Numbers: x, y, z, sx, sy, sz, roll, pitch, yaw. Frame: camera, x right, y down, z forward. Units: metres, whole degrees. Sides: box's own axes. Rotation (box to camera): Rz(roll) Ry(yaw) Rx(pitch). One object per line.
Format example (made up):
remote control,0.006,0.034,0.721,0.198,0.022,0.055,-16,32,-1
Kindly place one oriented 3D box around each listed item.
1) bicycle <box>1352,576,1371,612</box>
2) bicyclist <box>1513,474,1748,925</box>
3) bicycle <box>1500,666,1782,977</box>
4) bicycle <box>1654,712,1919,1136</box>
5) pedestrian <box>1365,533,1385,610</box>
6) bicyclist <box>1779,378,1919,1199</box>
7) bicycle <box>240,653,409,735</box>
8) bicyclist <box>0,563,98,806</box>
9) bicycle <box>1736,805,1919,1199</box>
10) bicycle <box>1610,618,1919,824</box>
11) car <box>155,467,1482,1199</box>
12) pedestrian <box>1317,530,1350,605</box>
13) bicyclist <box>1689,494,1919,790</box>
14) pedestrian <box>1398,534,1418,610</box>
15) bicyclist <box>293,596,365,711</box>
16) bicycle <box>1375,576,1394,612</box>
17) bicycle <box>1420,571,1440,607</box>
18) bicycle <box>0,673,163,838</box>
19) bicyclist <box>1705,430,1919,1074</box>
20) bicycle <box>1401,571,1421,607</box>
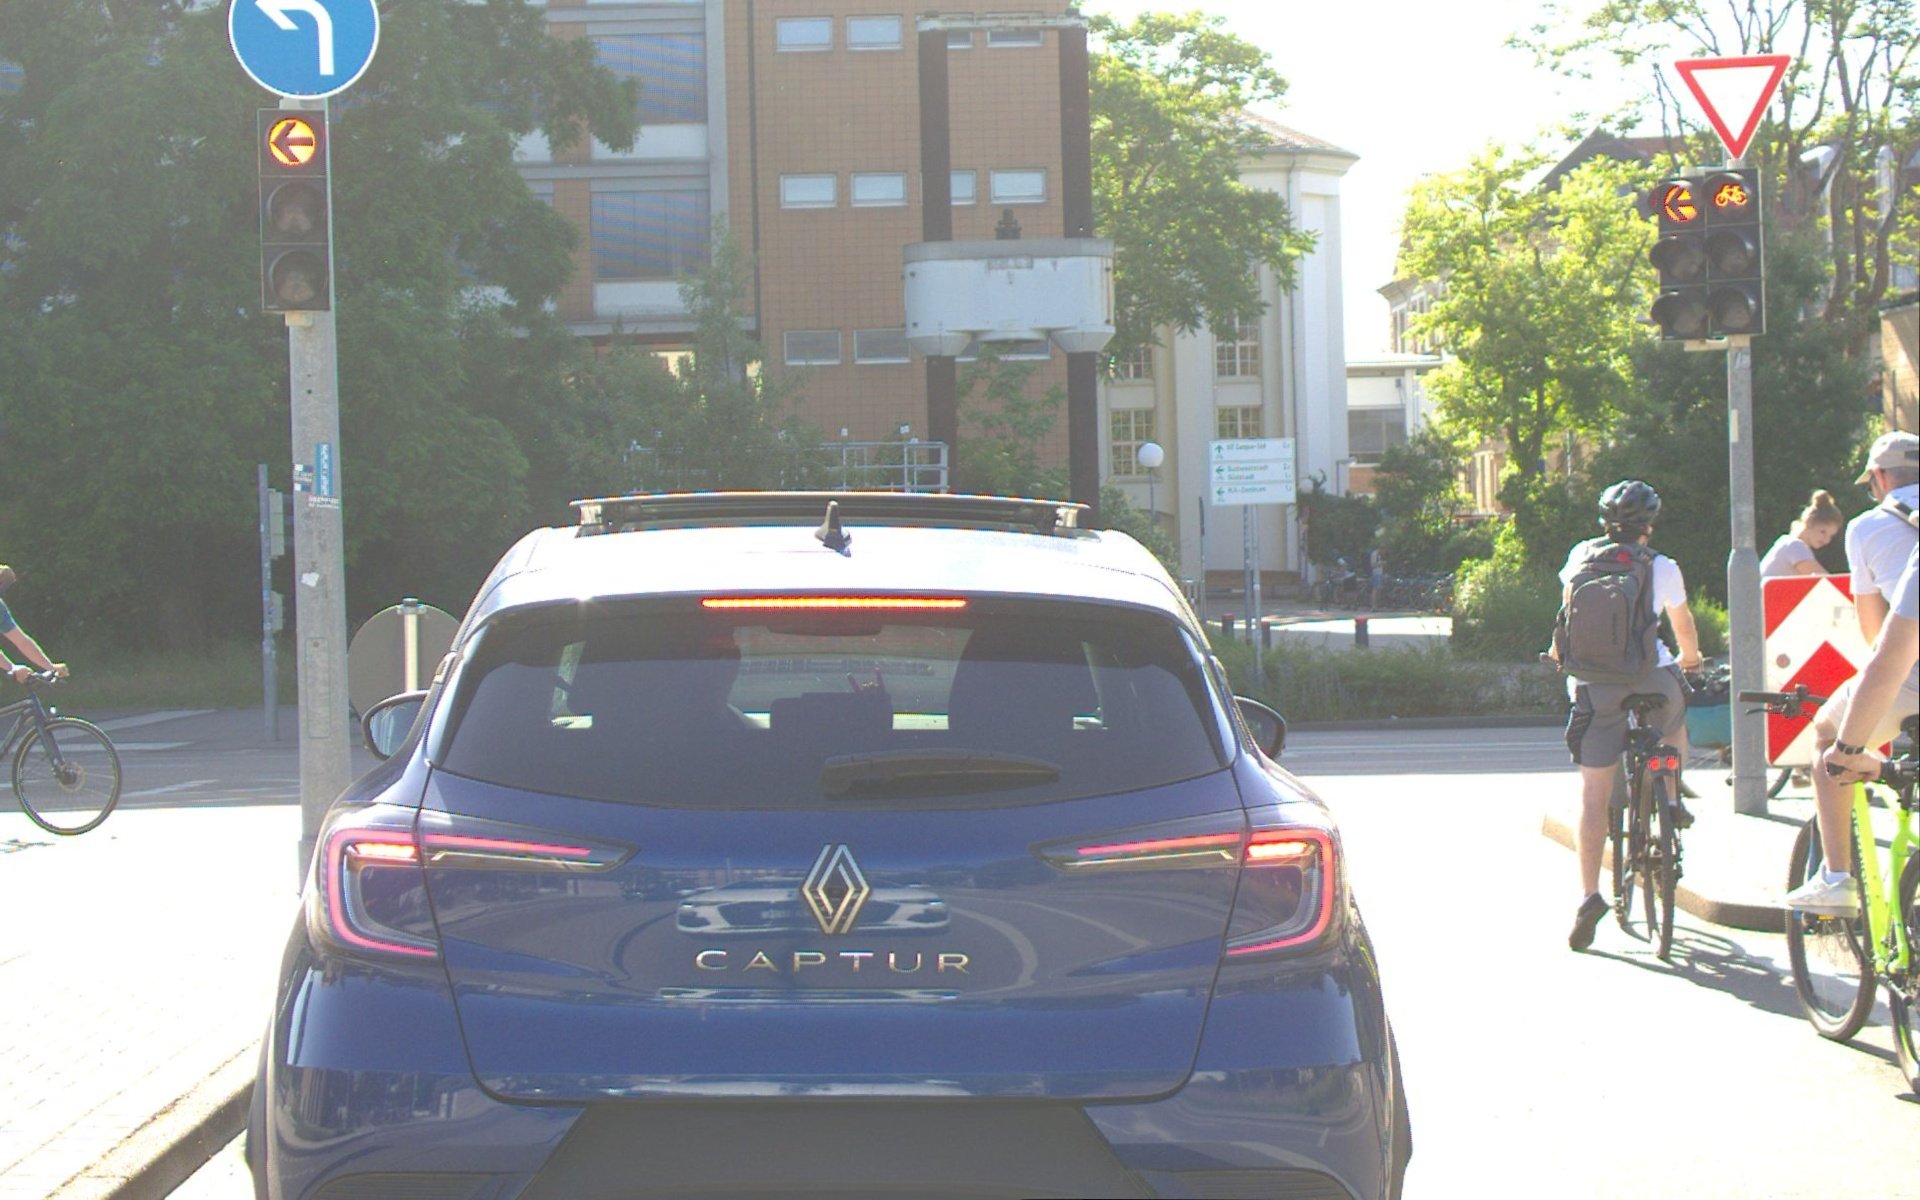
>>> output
bicycle,10.987,-0.179,94.080,0.405,0.969,1.683,1,1,4
bicyclist,2.507,0.355,12.945,0.726,1.623,0.969,1,0,4
bicycle,2.509,0.782,12.901,0.739,0.992,2.173,1,1,3
bicycle,2.611,0.866,9.821,0.659,0.999,1.970,1,1,-6
pedestrian,10.977,-0.752,91.043,0.475,2.007,0.523,-1,1,6
bicyclist,2.231,0.396,7.245,0.751,1.663,1.016,1,0,1
bicycle,-8.083,1.188,43.769,2.005,0.961,0.598,-2,1,-27
bicyclist,-5.889,0.517,20.642,1.124,1.417,0.687,-3,0,12
bicycle,2.227,0.953,7.256,0.740,0.893,1.978,1,1,1
bicycle,4.512,0.632,18.321,1.985,0.992,0.741,-3,0,9
car,-0.269,0.614,6.696,1.803,1.626,4.000,0,1,-2
pedestrian,10.150,-0.890,93.381,0.859,2.007,0.468,-1,1,6
bicyclist,4.498,0.218,18.318,1.069,1.494,0.741,-3,0,8
pedestrian,12.034,-0.751,92.395,0.475,2.007,0.468,-1,1,6
bicyclist,-8.036,0.675,43.786,0.737,1.436,0.598,-2,1,-27
bicycle,11.609,-0.170,94.037,0.405,0.969,1.683,1,1,4
bicycle,12.913,-0.299,94.416,0.405,0.969,1.683,1,1,4
bicycle,-5.876,0.953,20.639,1.985,0.915,0.687,-3,0,13
bicyclist,2.622,0.407,9.810,0.645,1.733,1.067,1,0,-6
bicycle,12.377,-0.306,94.403,0.405,0.969,1.683,1,1,4
